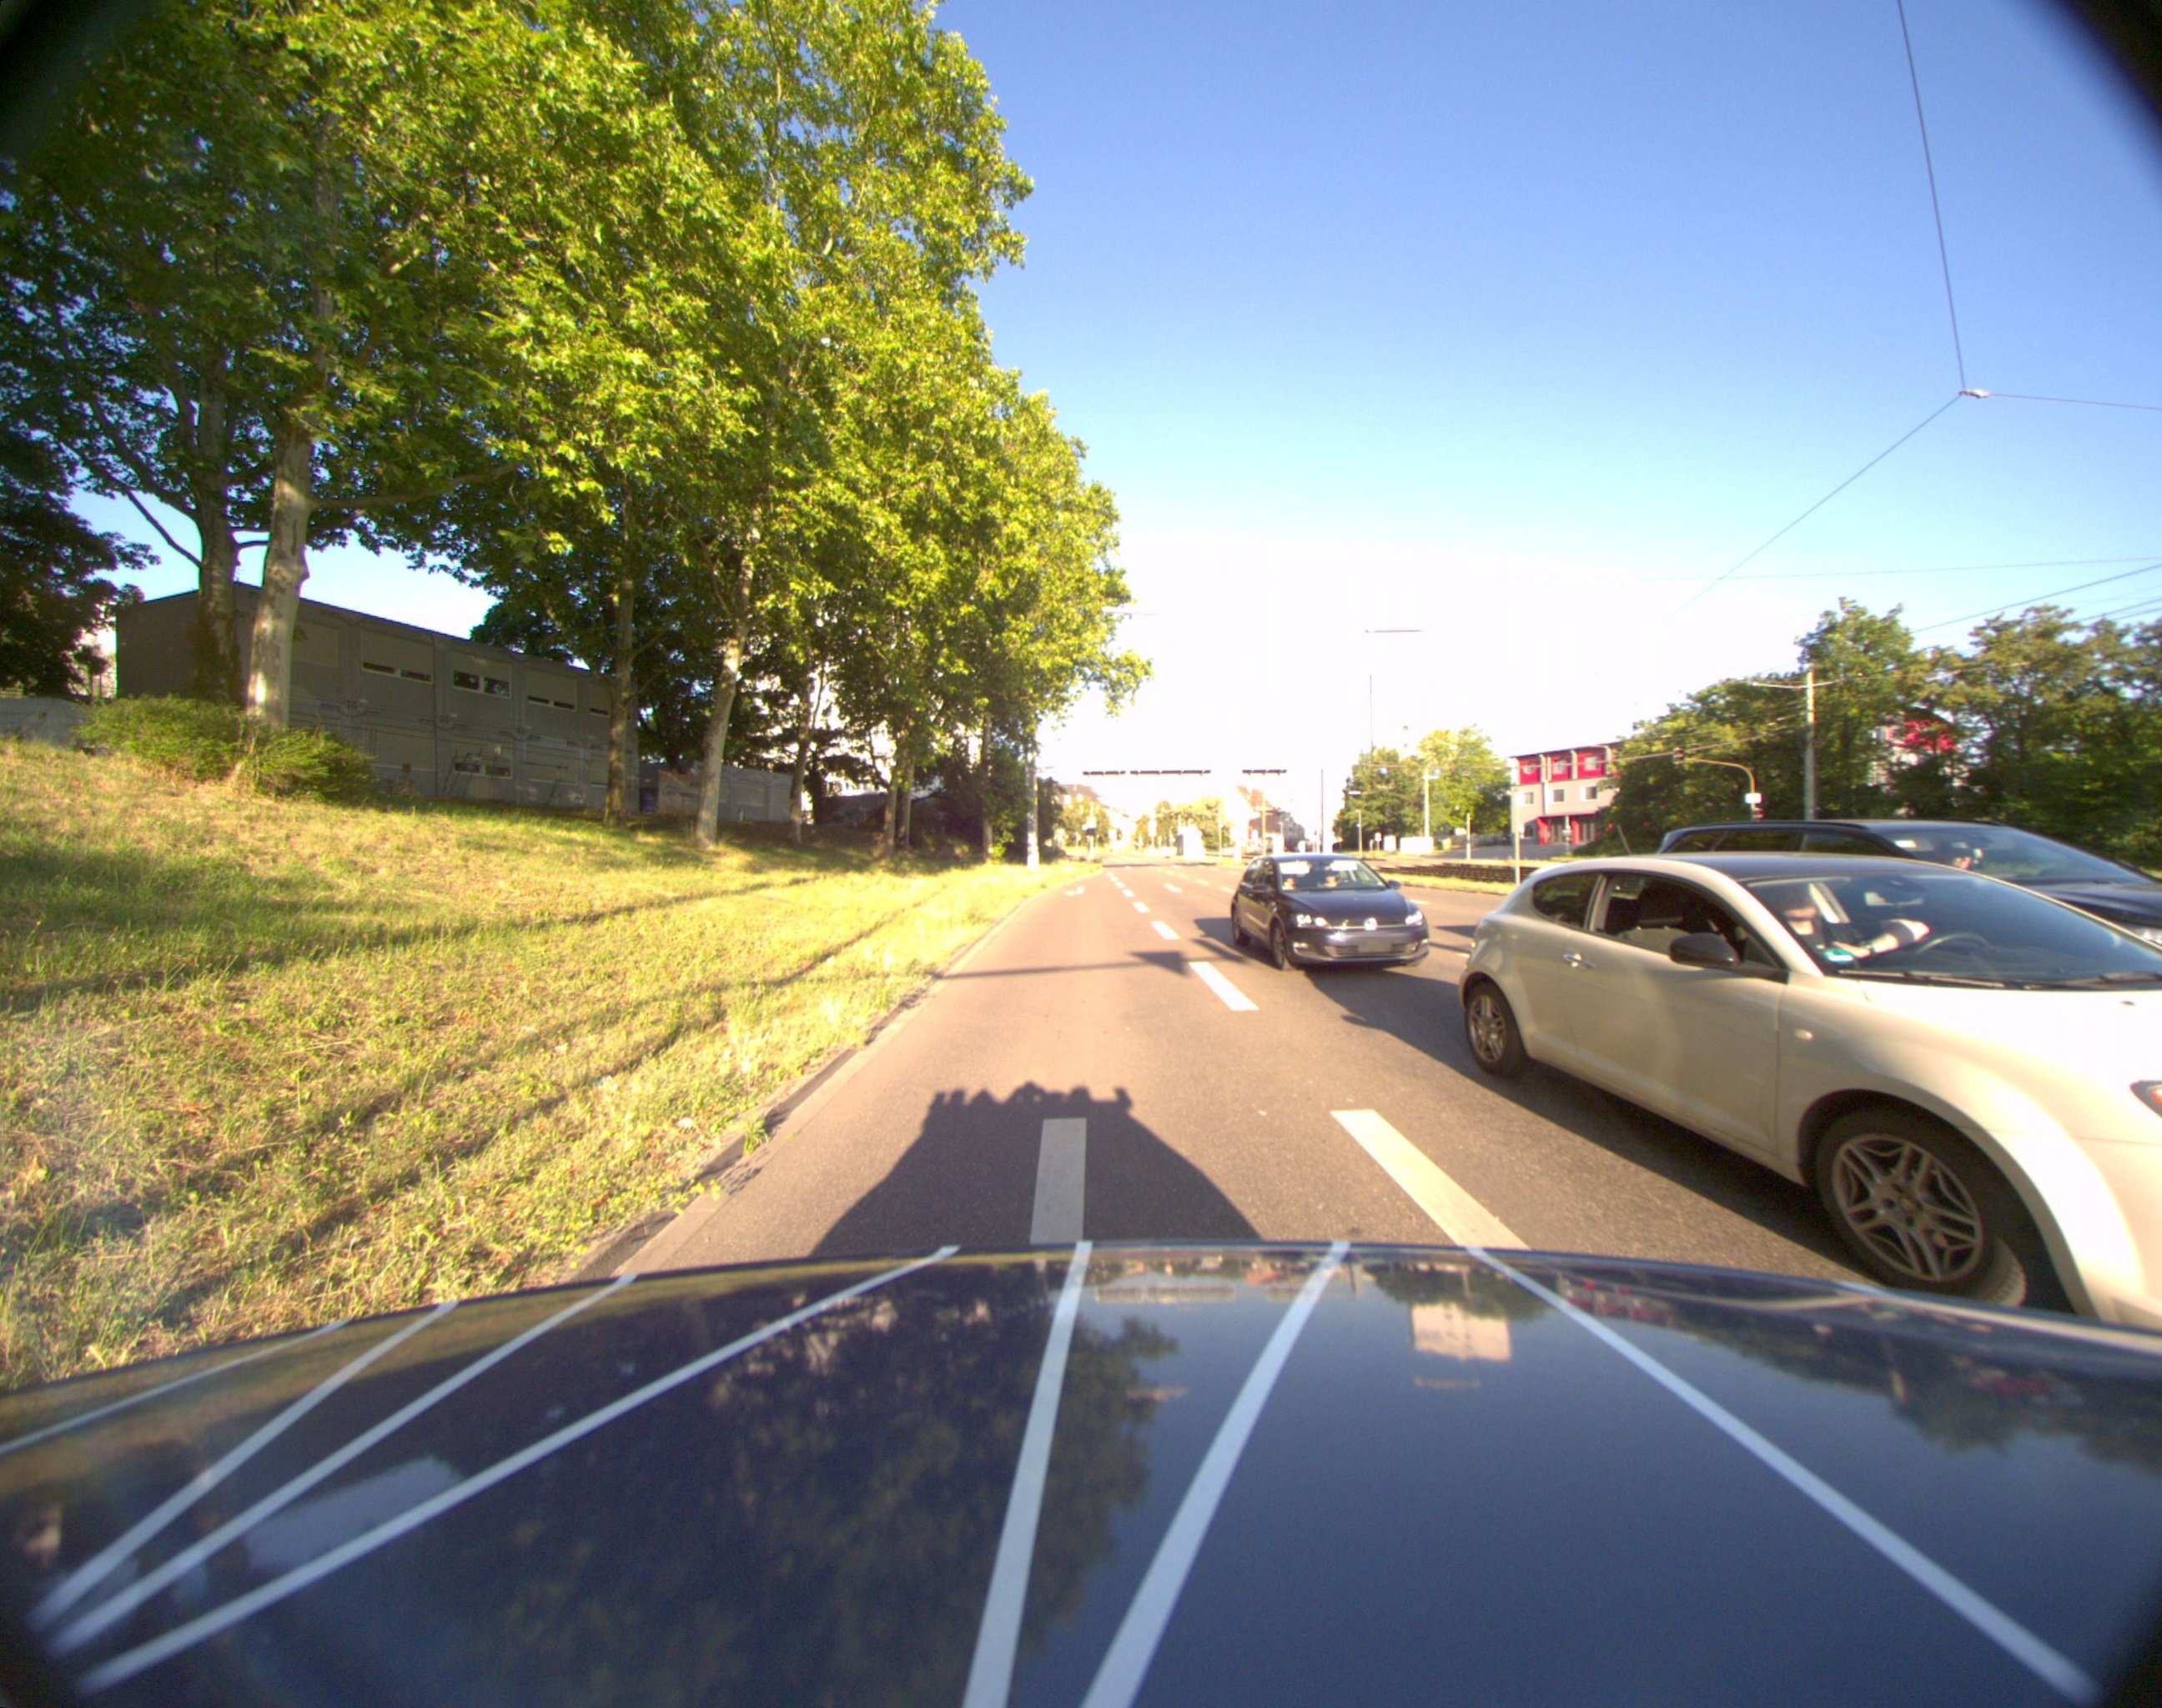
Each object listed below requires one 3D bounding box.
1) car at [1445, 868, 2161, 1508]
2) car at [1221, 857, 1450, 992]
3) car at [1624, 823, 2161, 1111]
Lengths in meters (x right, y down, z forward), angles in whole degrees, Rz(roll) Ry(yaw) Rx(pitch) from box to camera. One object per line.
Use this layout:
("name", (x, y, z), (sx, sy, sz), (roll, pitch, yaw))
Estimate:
("car", (3.421, 0.843, 3.398), (1.665, 1.422, 3.923), (-1, 0, -1))
("car", (3.201, 0.789, 10.443), (1.782, 1.422, 3.923), (-1, 0, -1))
("car", (7.227, 0.607, 6.566), (1.920, 1.639, 4.602), (-1, 0, 2))
